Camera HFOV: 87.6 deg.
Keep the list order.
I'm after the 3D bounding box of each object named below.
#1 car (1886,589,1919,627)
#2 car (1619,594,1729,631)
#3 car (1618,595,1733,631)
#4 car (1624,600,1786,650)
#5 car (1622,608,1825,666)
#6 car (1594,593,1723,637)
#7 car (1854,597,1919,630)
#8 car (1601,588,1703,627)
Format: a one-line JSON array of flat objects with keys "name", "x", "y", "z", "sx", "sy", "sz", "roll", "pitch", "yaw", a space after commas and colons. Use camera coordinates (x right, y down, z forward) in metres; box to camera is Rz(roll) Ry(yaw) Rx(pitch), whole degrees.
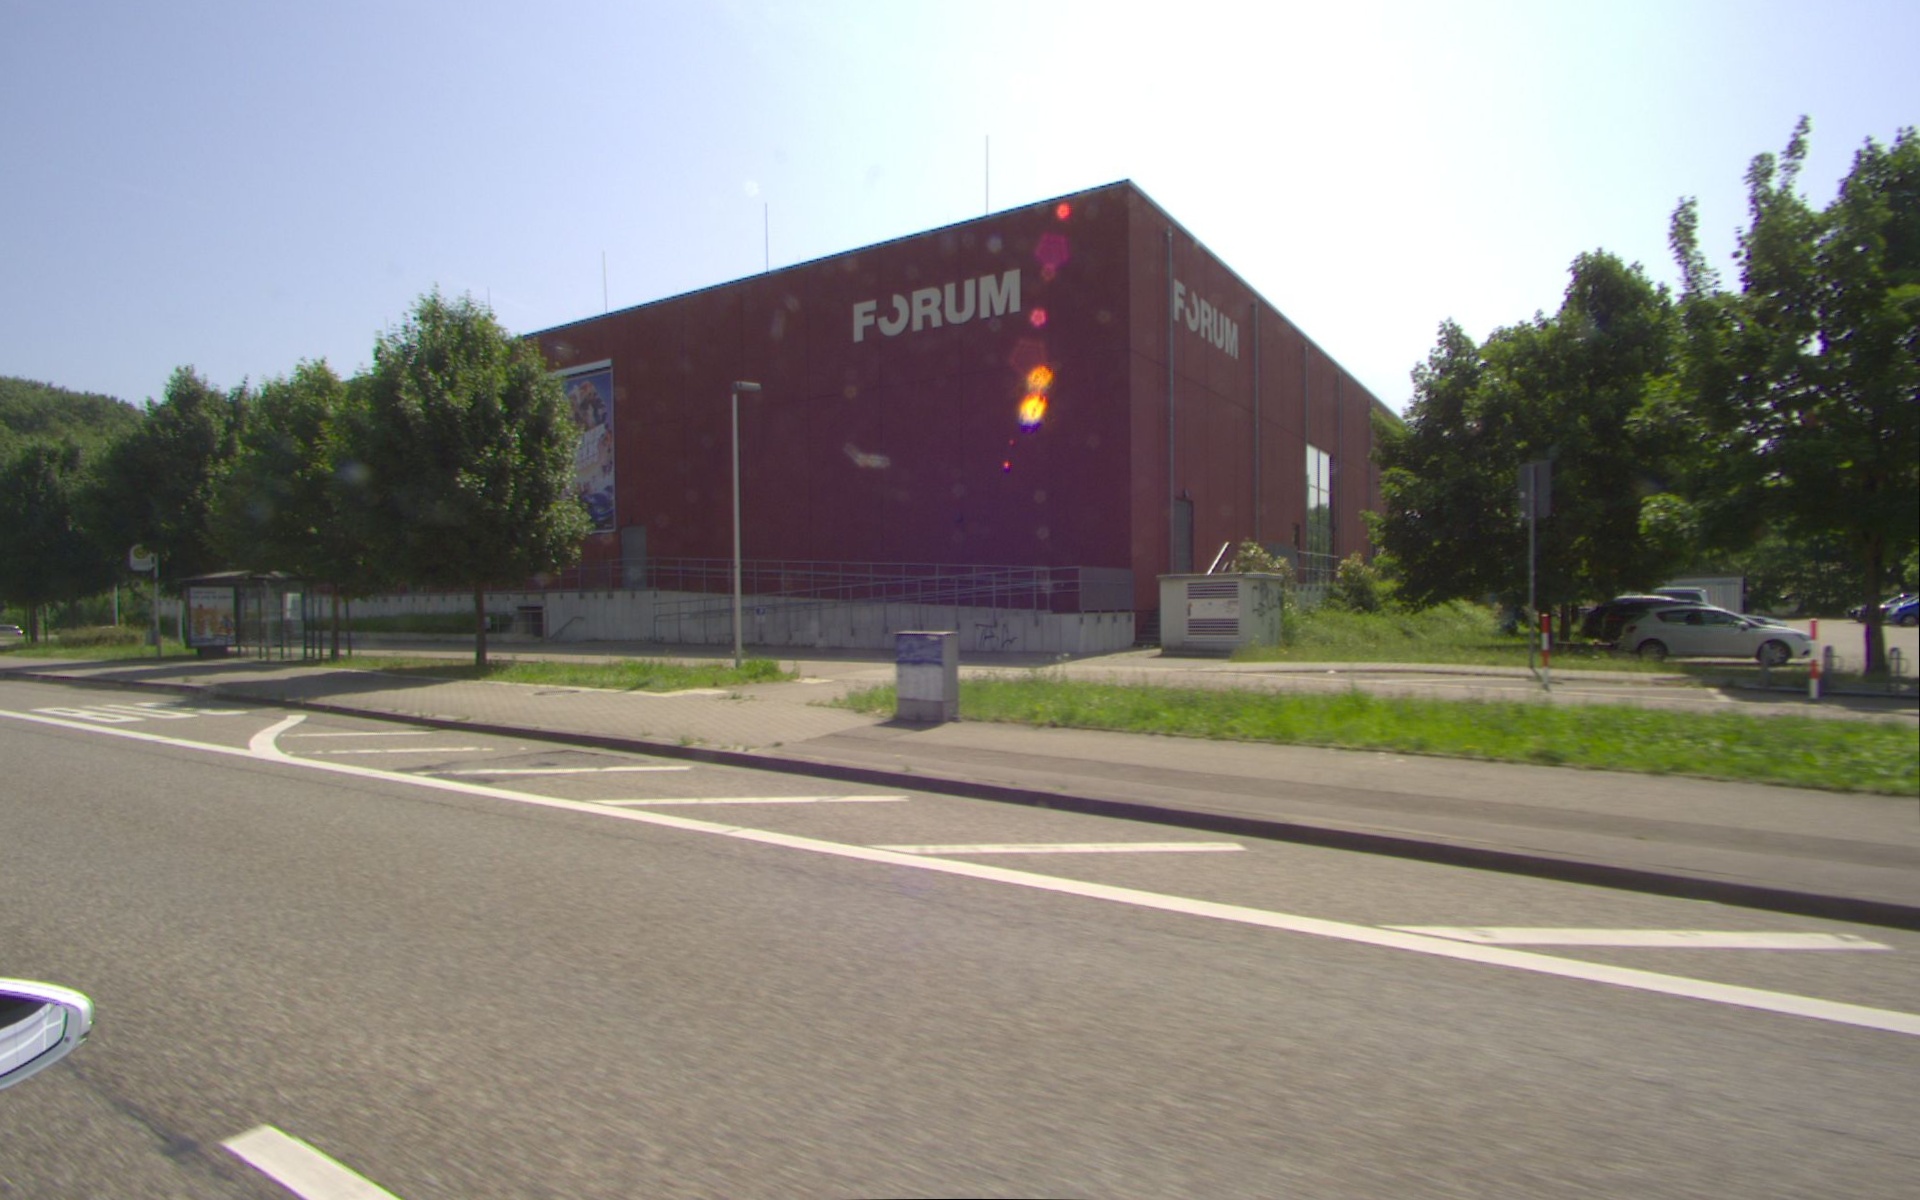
[{"name": "car", "x": 42.746, "y": 0.324, "z": 43.114, "sx": 3.943, "sy": 1.628, "sz": 1.703, "roll": 0, "pitch": 0, "yaw": 32}, {"name": "car", "x": 32.289, "y": 0.557, "z": 45.420, "sx": 3.943, "sy": 1.583, "sz": 1.703, "roll": 0, "pitch": 0, "yaw": 32}, {"name": "car", "x": 31.087, "y": 0.557, "z": 43.645, "sx": 3.943, "sy": 1.478, "sz": 1.703, "roll": 0, "pitch": 0, "yaw": 32}, {"name": "car", "x": 23.118, "y": 0.752, "z": 31.275, "sx": 3.945, "sy": 1.445, "sz": 1.702, "roll": 0, "pitch": 0, "yaw": 34}, {"name": "car", "x": 19.049, "y": 0.881, "z": 25.226, "sx": 3.916, "sy": 1.331, "sz": 1.645, "roll": 0, "pitch": 0, "yaw": 33}, {"name": "car", "x": 26.470, "y": 0.564, "z": 38.089, "sx": 3.945, "sy": 1.601, "sz": 1.702, "roll": 0, "pitch": 0, "yaw": 34}, {"name": "car", "x": 44.569, "y": 0.613, "z": 46.772, "sx": 3.943, "sy": 1.483, "sz": 1.778, "roll": 0, "pitch": 0, "yaw": 32}, {"name": "car", "x": 33.079, "y": 0.341, "z": 47.958, "sx": 3.948, "sy": 1.795, "sz": 1.700, "roll": 0, "pitch": 1, "yaw": 36}]
